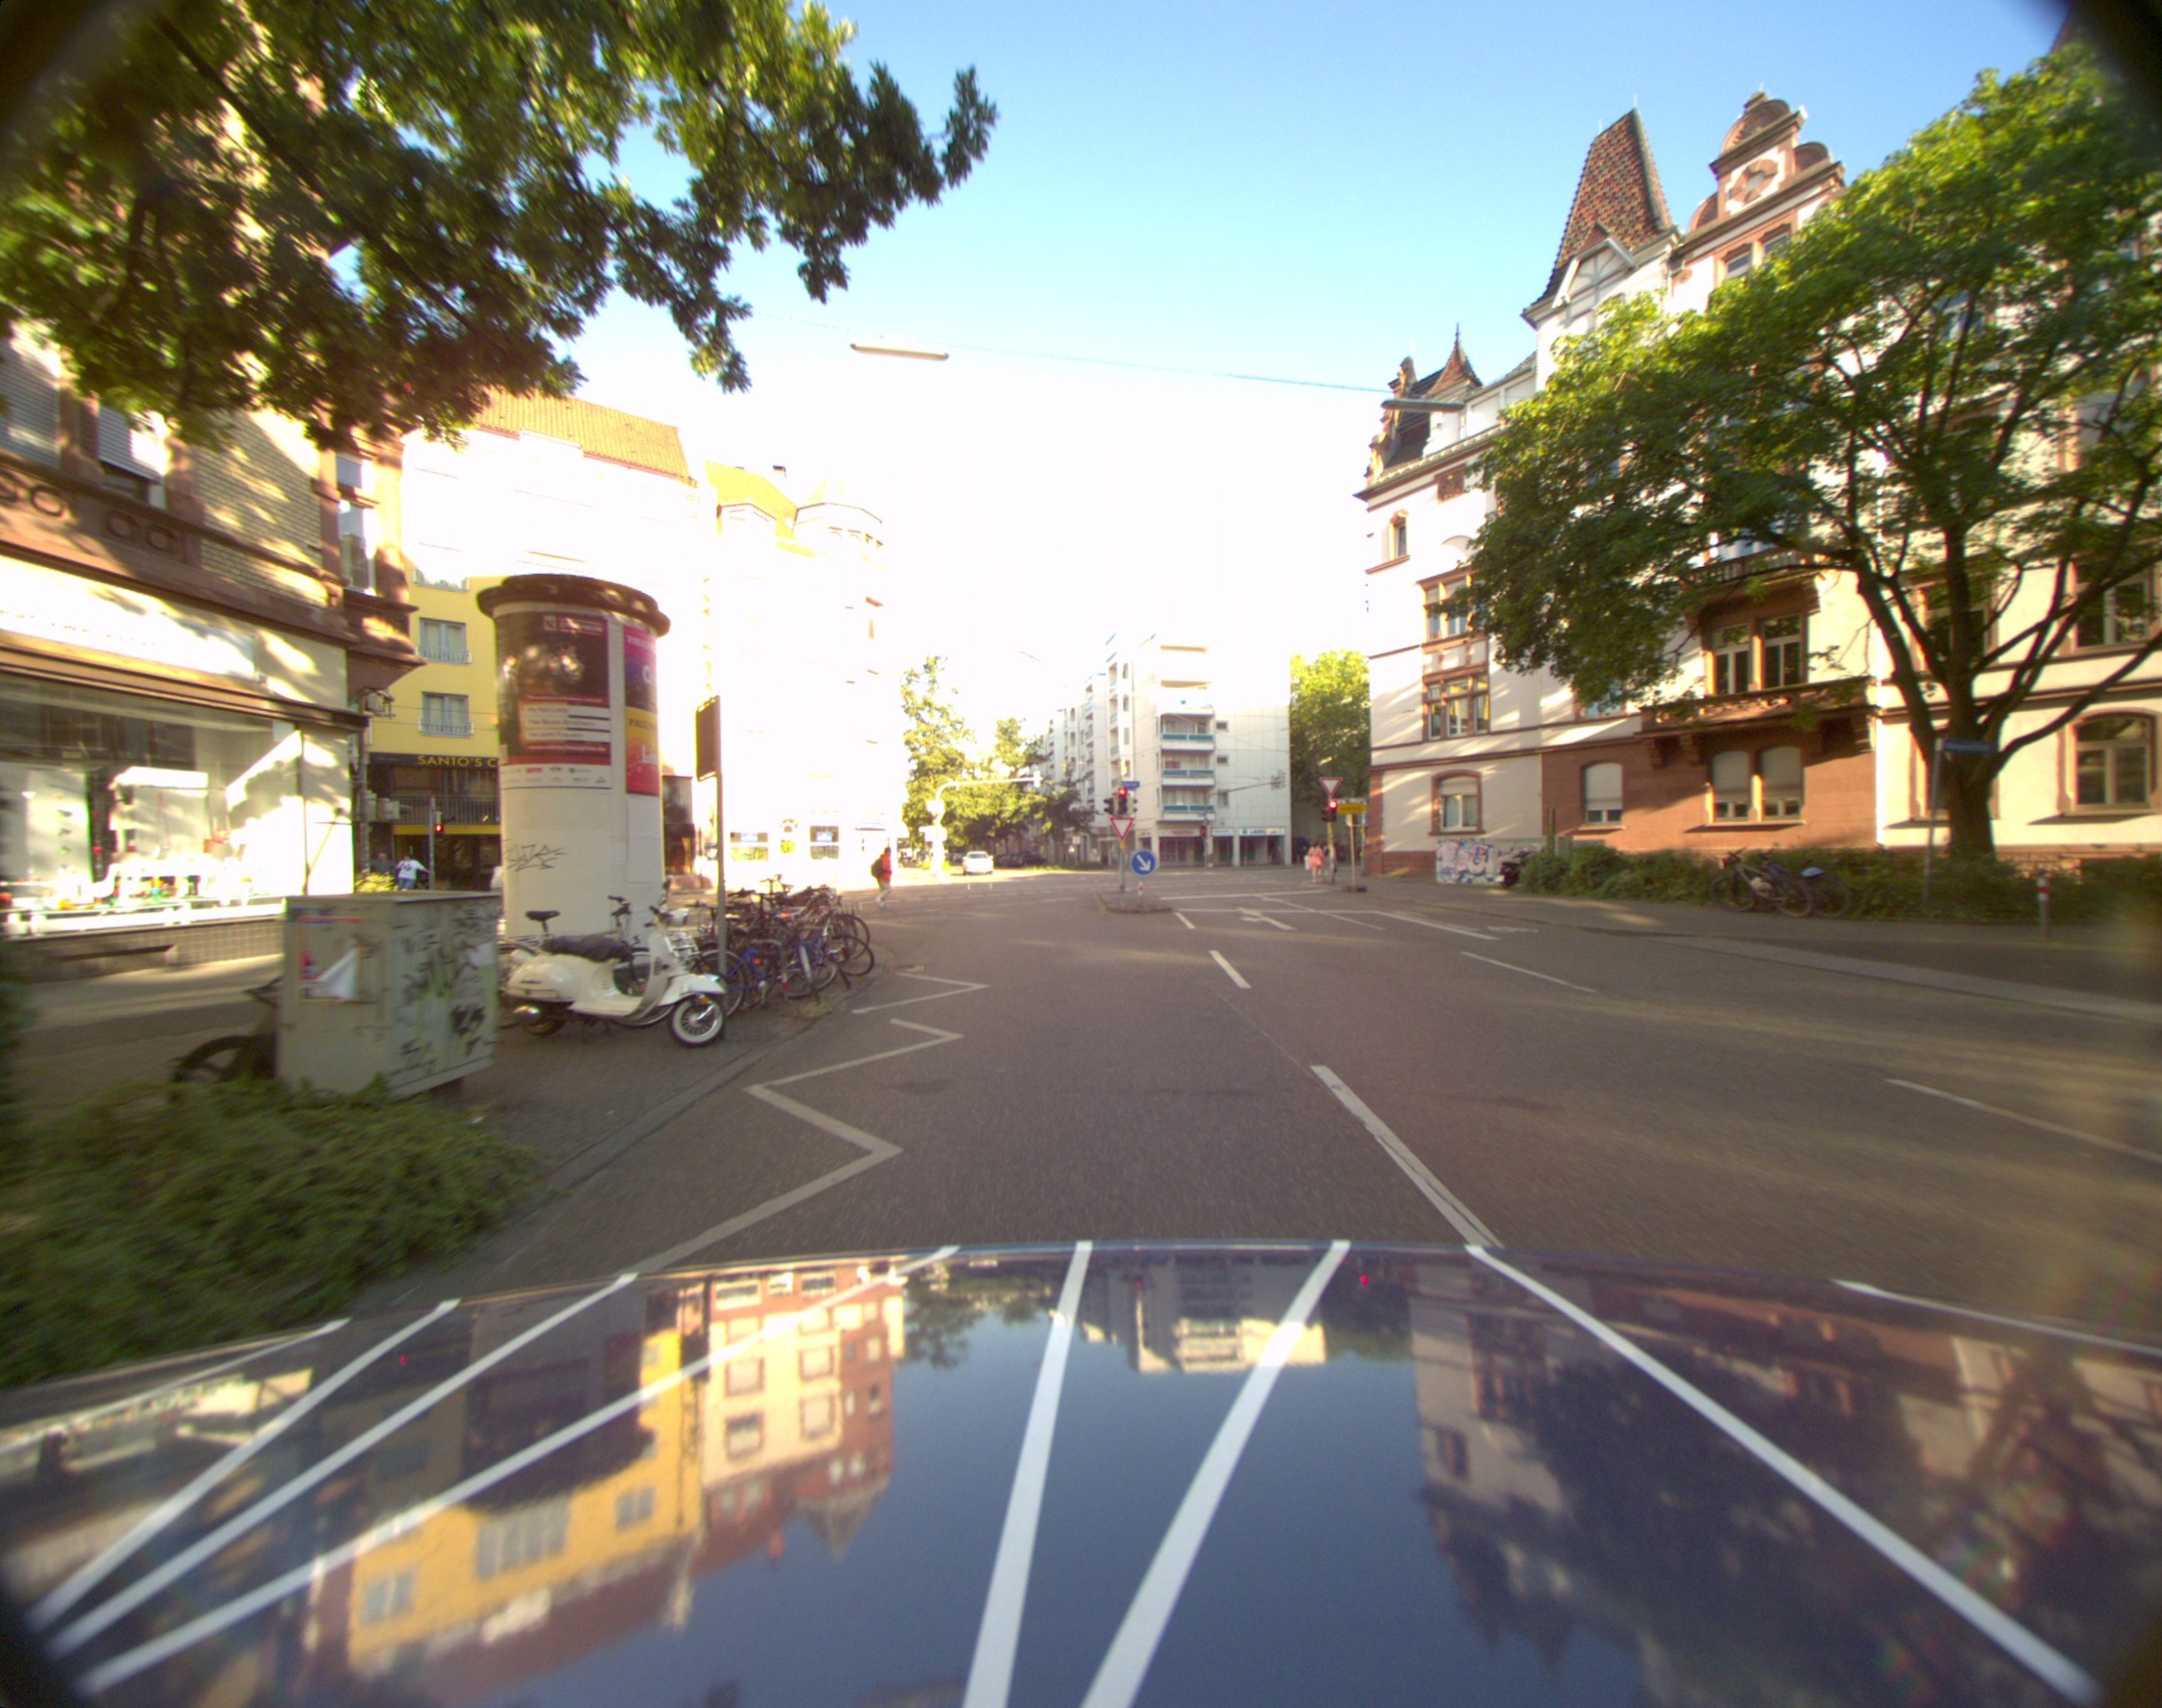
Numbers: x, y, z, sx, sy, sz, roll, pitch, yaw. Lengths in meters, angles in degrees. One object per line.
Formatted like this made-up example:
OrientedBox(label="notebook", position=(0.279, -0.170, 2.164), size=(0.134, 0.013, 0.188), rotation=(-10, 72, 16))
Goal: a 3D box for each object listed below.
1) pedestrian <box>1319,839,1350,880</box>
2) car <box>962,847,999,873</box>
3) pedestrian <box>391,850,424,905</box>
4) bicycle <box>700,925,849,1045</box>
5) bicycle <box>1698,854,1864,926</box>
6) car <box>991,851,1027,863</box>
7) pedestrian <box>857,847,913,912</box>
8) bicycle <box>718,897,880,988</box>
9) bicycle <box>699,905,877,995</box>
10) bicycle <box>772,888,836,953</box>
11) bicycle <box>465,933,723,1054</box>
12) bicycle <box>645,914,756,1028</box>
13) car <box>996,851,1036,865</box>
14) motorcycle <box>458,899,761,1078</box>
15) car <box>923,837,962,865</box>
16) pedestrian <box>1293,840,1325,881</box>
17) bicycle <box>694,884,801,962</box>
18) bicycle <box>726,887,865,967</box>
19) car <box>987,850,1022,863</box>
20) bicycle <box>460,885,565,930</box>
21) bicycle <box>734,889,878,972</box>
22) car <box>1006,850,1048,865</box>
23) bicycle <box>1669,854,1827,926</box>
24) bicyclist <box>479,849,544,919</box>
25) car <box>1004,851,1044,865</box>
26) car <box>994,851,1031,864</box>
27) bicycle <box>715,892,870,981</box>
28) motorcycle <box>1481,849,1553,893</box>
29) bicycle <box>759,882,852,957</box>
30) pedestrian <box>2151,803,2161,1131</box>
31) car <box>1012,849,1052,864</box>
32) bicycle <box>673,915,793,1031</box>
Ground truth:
OrientedBox(label="pedestrian", position=(10.483, 0.219, 31.447), size=(0.869, 1.688, 0.984), rotation=(-1, 1, -3))
OrientedBox(label="car", position=(-7.093, 0.403, 53.431), size=(2.001, 1.740, 3.994), rotation=(-1, 1, -15))
OrientedBox(label="pedestrian", position=(-23.433, 0.815, 26.436), size=(0.737, 1.831, 0.724), rotation=(-2, 5, -36))
OrientedBox(label="bicycle", position=(-2.935, 1.226, 7.400), size=(0.353, 0.922, 1.416), rotation=(3, 1, 29))
OrientedBox(label="bicycle", position=(13.030, 0.614, 14.319), size=(0.547, 1.189, 2.959), rotation=(-1, 0, 3))
OrientedBox(label="car", position=(-9.558, 0.381, 100.435), size=(4.308, 1.576, 1.996), rotation=(-1, 1, -19))
OrientedBox(label="pedestrian", position=(-5.215, 0.651, 20.162), size=(1.175, 1.670, 1.005), rotation=(-1, 1, -30))
OrientedBox(label="bicycle", position=(-3.698, 1.126, 10.077), size=(1.940, 1.046, 0.501), rotation=(1, 2, -38))
OrientedBox(label="bicycle", position=(-3.507, 1.126, 9.192), size=(1.939, 0.982, 0.495), rotation=(1, 1, -23))
OrientedBox(label="bicycle", position=(-4.845, 1.136, 13.258), size=(1.000, 1.021, 0.737), rotation=(-1, 1, -23))
OrientedBox(label="bicycle", position=(-4.124, 1.181, 6.488), size=(1.935, 0.922, 0.354), rotation=(2, 1, -2))
OrientedBox(label="bicycle", position=(-3.911, 1.164, 7.912), size=(0.354, 0.922, 1.525), rotation=(2, 1, 1))
OrientedBox(label="car", position=(-7.786, 0.417, 91.186), size=(4.309, 1.576, 1.996), rotation=(-1, 1, -21))
OrientedBox(label="motorcycle", position=(-3.598, 1.010, 5.906), size=(1.902, 1.227, 0.686), rotation=(1, 1, -1))
OrientedBox(label="car", position=(-16.287, -0.366, 88.906), size=(3.329, 3.160, 8.069), rotation=(-1, 1, -18))
OrientedBox(label="pedestrian", position=(9.405, 0.255, 31.348), size=(0.867, 1.688, 0.986), rotation=(0, 1, 44))
OrientedBox(label="bicycle", position=(-5.264, 1.060, 12.059), size=(0.572, 1.087, 1.480), rotation=(3, 1, 31))
OrientedBox(label="bicycle", position=(-4.307, 1.073, 11.574), size=(1.940, 1.087, 0.424), rotation=(1, 2, -40))
OrientedBox(label="car", position=(-10.334, 0.318, 102.715), size=(4.308, 1.576, 1.996), rotation=(-1, 1, -19))
OrientedBox(label="bicycle", position=(-13.288, 1.235, 17.835), size=(1.882, 0.907, 0.633), rotation=(-3, 1, -30))
OrientedBox(label="bicycle", position=(-4.007, 1.083, 11.197), size=(1.940, 1.087, 0.424), rotation=(1, 2, -40))
OrientedBox(label="car", position=(-6.128, 0.377, 86.480), size=(4.309, 1.576, 1.996), rotation=(-1, 1, -21))
OrientedBox(label="bicycle", position=(12.436, 0.612, 14.346), size=(0.547, 1.189, 2.959), rotation=(-1, 0, 3))
OrientedBox(label="bicyclist", position=(-13.338, 0.695, 17.815), size=(1.083, 1.544, 0.633), rotation=(-3, 1, -30))
OrientedBox(label="car", position=(-6.688, 0.475, 89.009), size=(4.309, 1.576, 1.996), rotation=(-1, 1, -21))
OrientedBox(label="car", position=(-8.744, 0.471, 97.244), size=(4.308, 1.576, 1.996), rotation=(-1, 1, -19))
OrientedBox(label="bicycle", position=(-3.949, 1.094, 10.498), size=(1.940, 1.087, 0.424), rotation=(1, 2, -38))
OrientedBox(label="motorcycle", position=(13.168, 0.482, 22.941), size=(2.113, 1.258, 0.841), rotation=(-1, 1, -26))
OrientedBox(label="bicycle", position=(-4.473, 1.041, 12.414), size=(0.424, 1.087, 1.480), rotation=(3, 1, 29))
OrientedBox(label="pedestrian", position=(6.816, 0.647, 4.058), size=(1.118, 1.888, 0.842), rotation=(-1, 1, -8))
OrientedBox(label="car", position=(-5.440, 0.289, 84.134), size=(4.004, 1.576, 1.996), rotation=(-1, 1, -21))
OrientedBox(label="bicycle", position=(-3.513, 1.163, 7.791), size=(0.354, 0.922, 1.526), rotation=(2, 1, 7))
